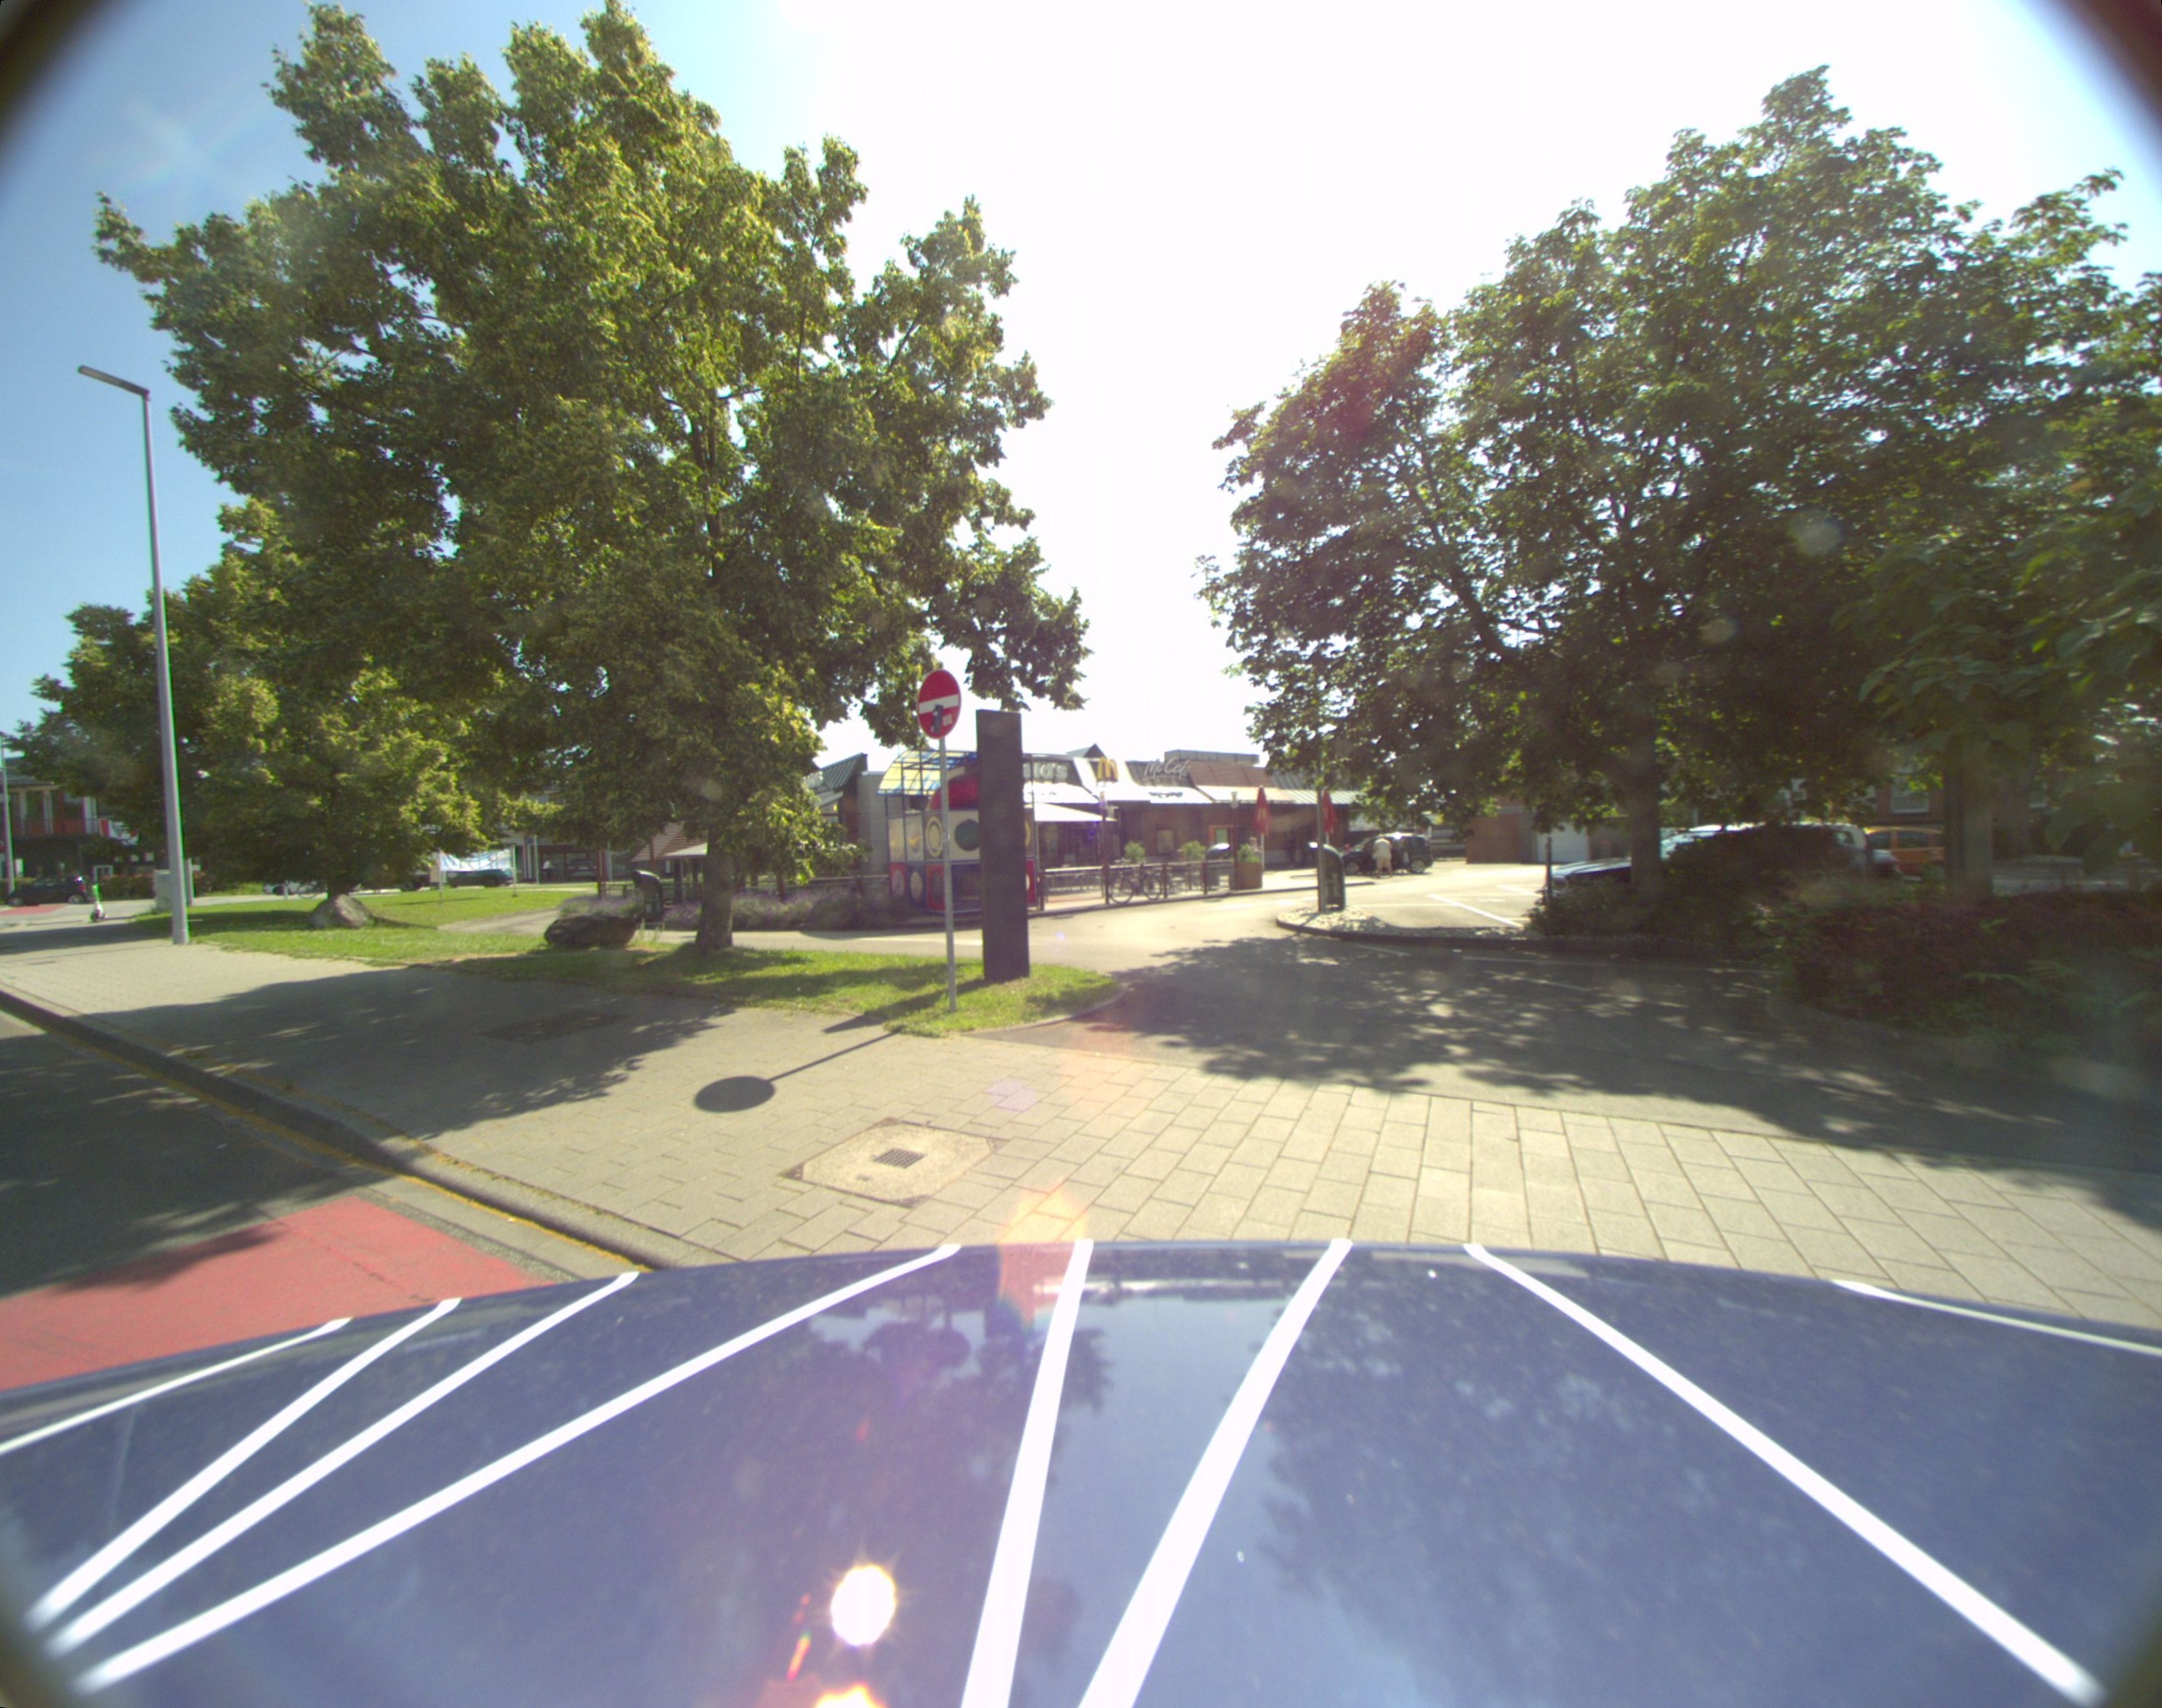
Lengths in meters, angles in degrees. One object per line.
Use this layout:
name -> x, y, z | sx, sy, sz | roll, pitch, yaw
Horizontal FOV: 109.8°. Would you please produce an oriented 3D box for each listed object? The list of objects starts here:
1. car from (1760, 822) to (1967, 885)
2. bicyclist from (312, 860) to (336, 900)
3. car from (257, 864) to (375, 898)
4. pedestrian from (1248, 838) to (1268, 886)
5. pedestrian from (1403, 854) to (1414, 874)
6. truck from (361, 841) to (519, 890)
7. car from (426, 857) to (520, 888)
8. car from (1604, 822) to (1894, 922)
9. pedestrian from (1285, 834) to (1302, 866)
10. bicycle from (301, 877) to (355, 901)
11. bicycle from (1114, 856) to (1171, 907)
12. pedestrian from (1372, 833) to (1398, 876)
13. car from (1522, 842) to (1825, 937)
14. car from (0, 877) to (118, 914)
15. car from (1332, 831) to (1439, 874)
car -> 21.712, -0.025, 21.255 | 3.717, 1.623, 1.670 | -1, 2, 13
bicyclist -> -36.475, 1.255, 36.630 | 0.658, 1.886, 0.551 | -2, 4, -34
car -> -43.314, 1.491, 43.177 | 4.378, 1.618, 1.826 | -2, 4, -35
pedestrian -> 5.908, 0.253, 25.396 | 0.596, 1.558, 0.572 | -1, 2, 14
pedestrian -> 13.246, 0.411, 30.749 | 0.364, 0.775, 0.336 | -1, 1, 16
truck -> -35.005, 0.588, 41.864 | 6.398, 2.361, 2.379 | -2, 1, -36
car -> -37.507, 1.115, 47.009 | 4.378, 1.618, 1.826 | -2, 4, -35
car -> 13.396, 0.330, 15.464 | 4.224, 1.789, 1.760 | -2, 2, 4
pedestrian -> 11.144, -0.225, 39.902 | 0.624, 1.642, 0.541 | -2, 2, -35
bicycle -> -36.380, 1.676, 36.723 | 1.728, 1.037, 0.581 | -2, 4, -34
bicycle -> 1.651, 0.716, 20.205 | 1.614, 1.180, 0.309 | -5, 5, -32
pedestrian -> 11.927, 0.020, 29.799 | 0.832, 1.628, 0.789 | -1, 1, 16
car -> 10.321, 0.588, 13.481 | 3.995, 1.485, 1.656 | -1, 1, 4
car -> -50.906, 2.019, 37.107 | 4.378, 1.483, 1.826 | -2, 4, -35
car -> 12.648, -0.077, 31.840 | 3.992, 1.648, 1.958 | -1, 1, 16
